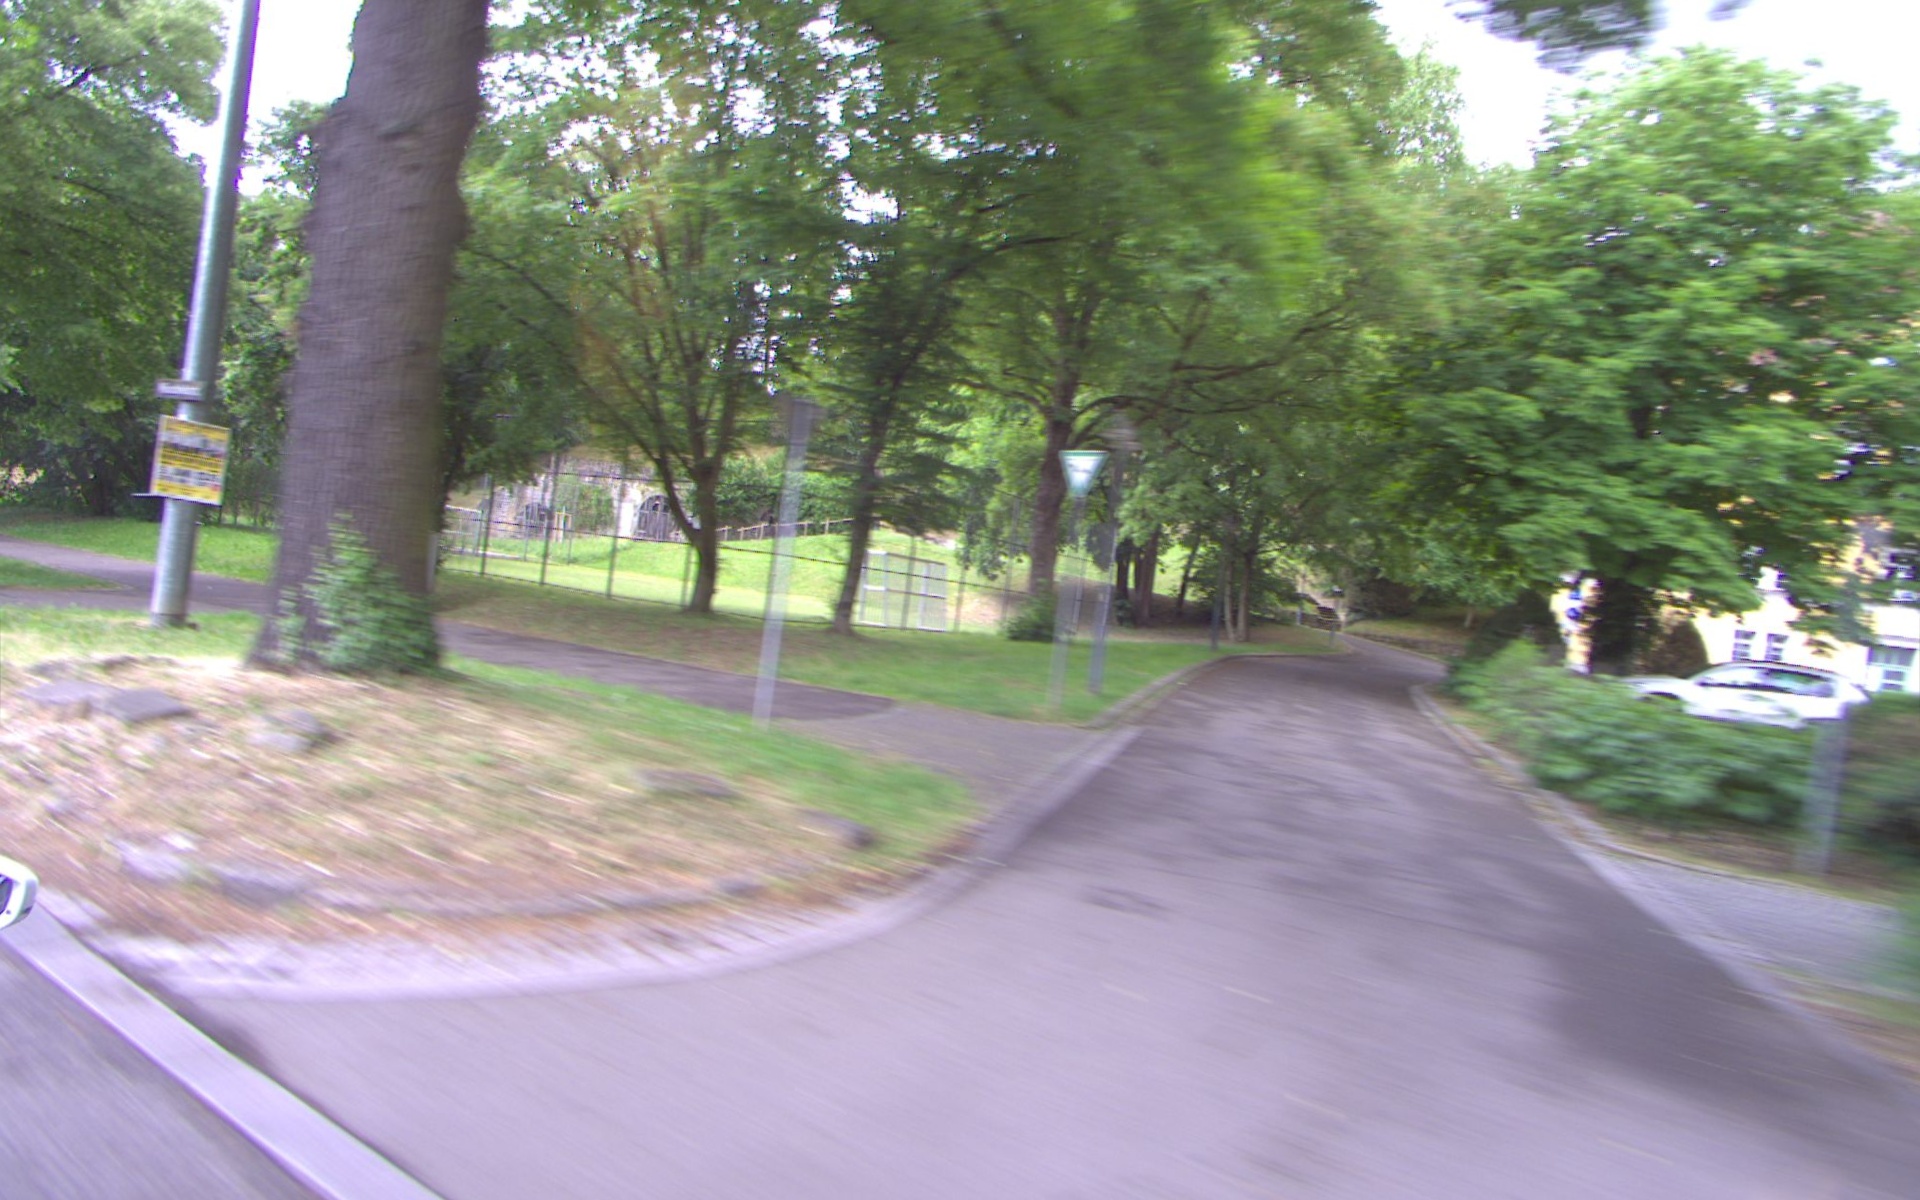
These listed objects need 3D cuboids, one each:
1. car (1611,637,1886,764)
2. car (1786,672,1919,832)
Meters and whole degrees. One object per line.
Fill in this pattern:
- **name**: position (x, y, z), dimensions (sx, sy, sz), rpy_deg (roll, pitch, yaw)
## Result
- **car**: position (15.696, 1.916, 20.366), dimensions (3.932, 1.674, 1.993), rpy_deg (10, 5, 30)
- **car**: position (11.346, 1.847, 10.047), dimensions (4.392, 1.450, 1.907), rpy_deg (10, 3, 32)
